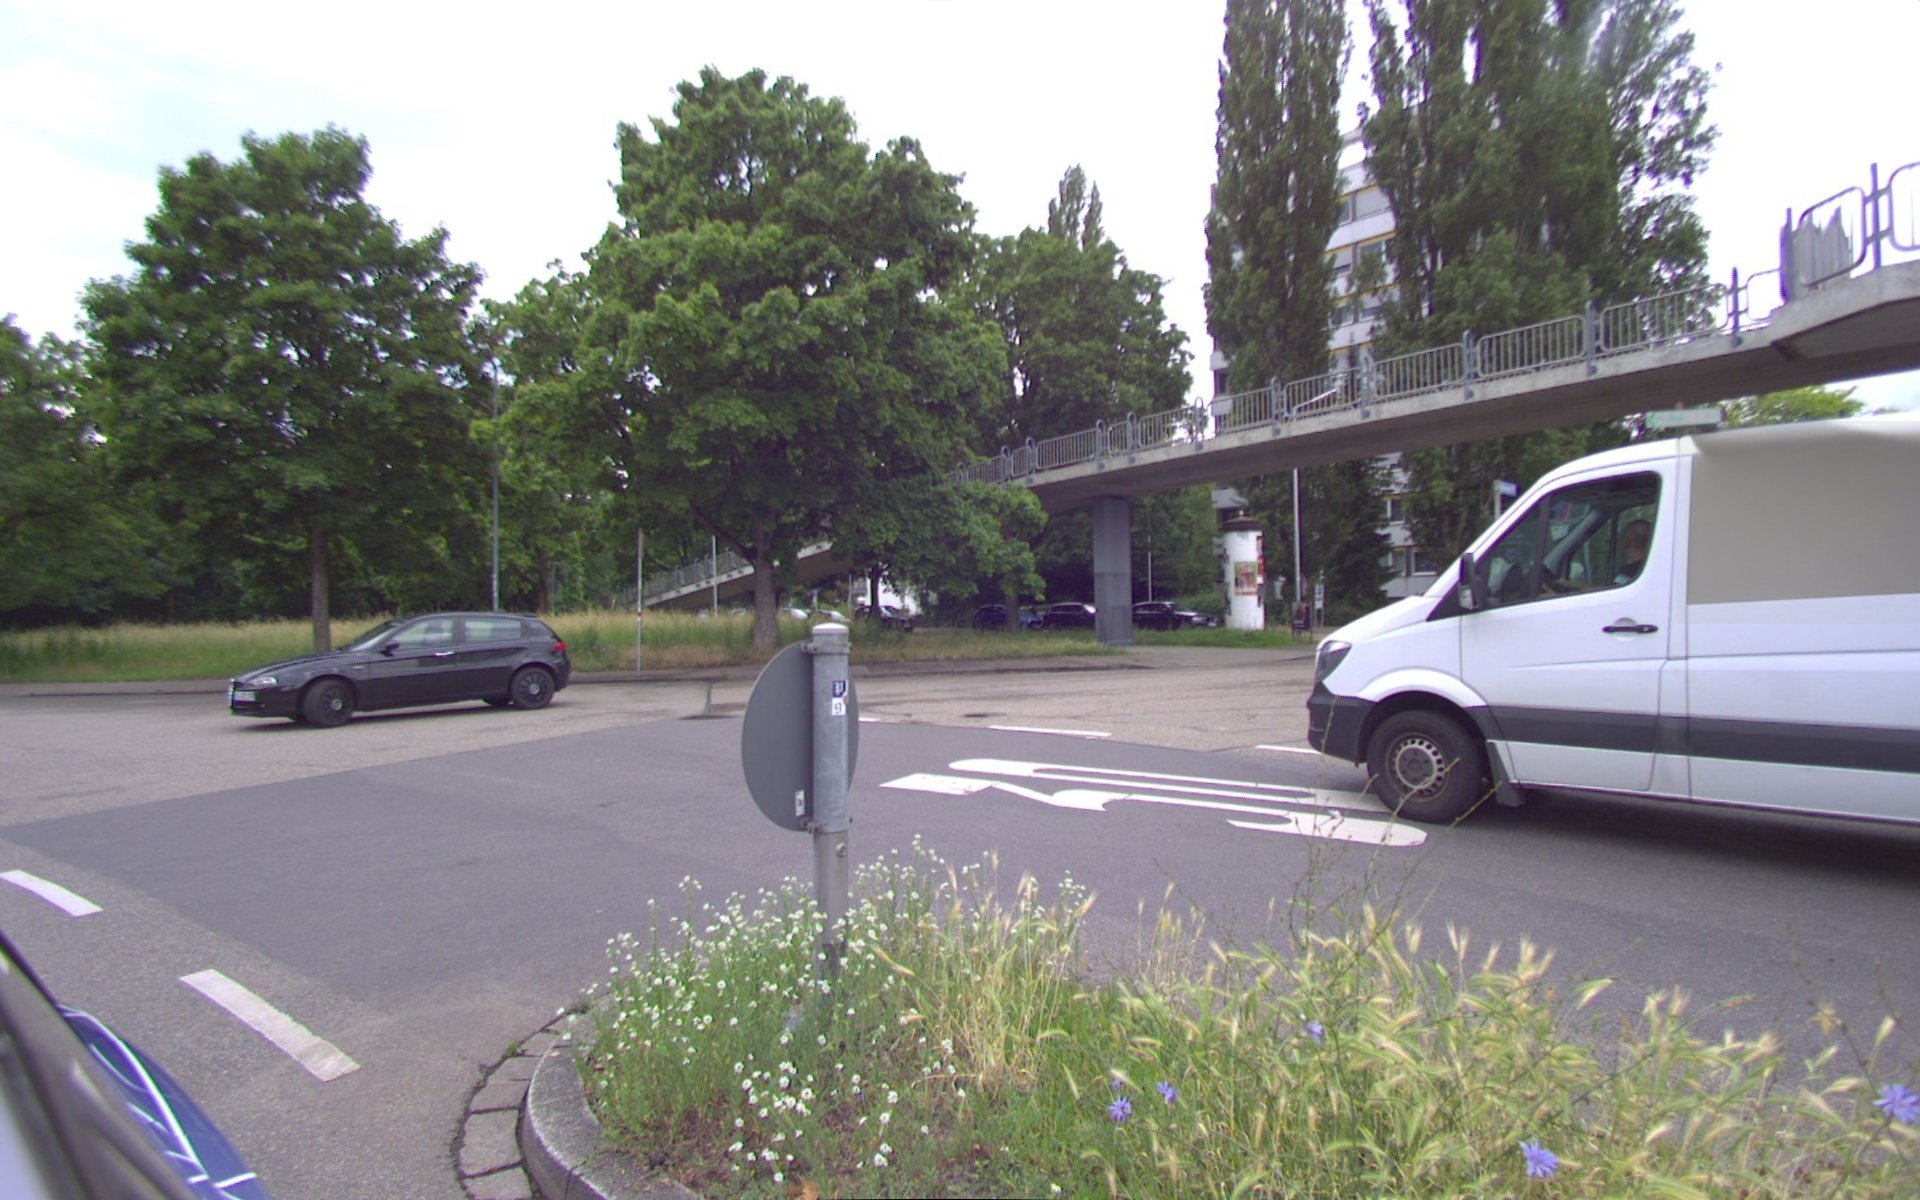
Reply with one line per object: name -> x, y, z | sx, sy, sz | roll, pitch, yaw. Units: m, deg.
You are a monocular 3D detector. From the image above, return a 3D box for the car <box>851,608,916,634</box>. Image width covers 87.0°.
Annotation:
car -> -4.356, 1.178, 57.440 | 1.667, 1.361, 4.007 | -1, 0, -39

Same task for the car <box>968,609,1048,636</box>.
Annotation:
car -> 2.311, 1.113, 49.866 | 1.667, 1.247, 4.007 | -1, 0, -39

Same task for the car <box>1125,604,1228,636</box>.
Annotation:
car -> 8.908, 0.827, 41.919 | 1.667, 1.214, 4.007 | -1, 0, -39

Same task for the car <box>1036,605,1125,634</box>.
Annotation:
car -> 5.460, 0.884, 46.152 | 1.667, 1.256, 4.007 | -1, 0, -39

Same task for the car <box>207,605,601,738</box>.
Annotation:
car -> -7.506, 0.853, 13.956 | 4.471, 1.468, 1.806 | -1, 0, -42

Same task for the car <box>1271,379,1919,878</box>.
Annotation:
car -> 4.740, 0.141, 5.867 | 5.210, 2.310, 2.110 | -2, -1, 45
